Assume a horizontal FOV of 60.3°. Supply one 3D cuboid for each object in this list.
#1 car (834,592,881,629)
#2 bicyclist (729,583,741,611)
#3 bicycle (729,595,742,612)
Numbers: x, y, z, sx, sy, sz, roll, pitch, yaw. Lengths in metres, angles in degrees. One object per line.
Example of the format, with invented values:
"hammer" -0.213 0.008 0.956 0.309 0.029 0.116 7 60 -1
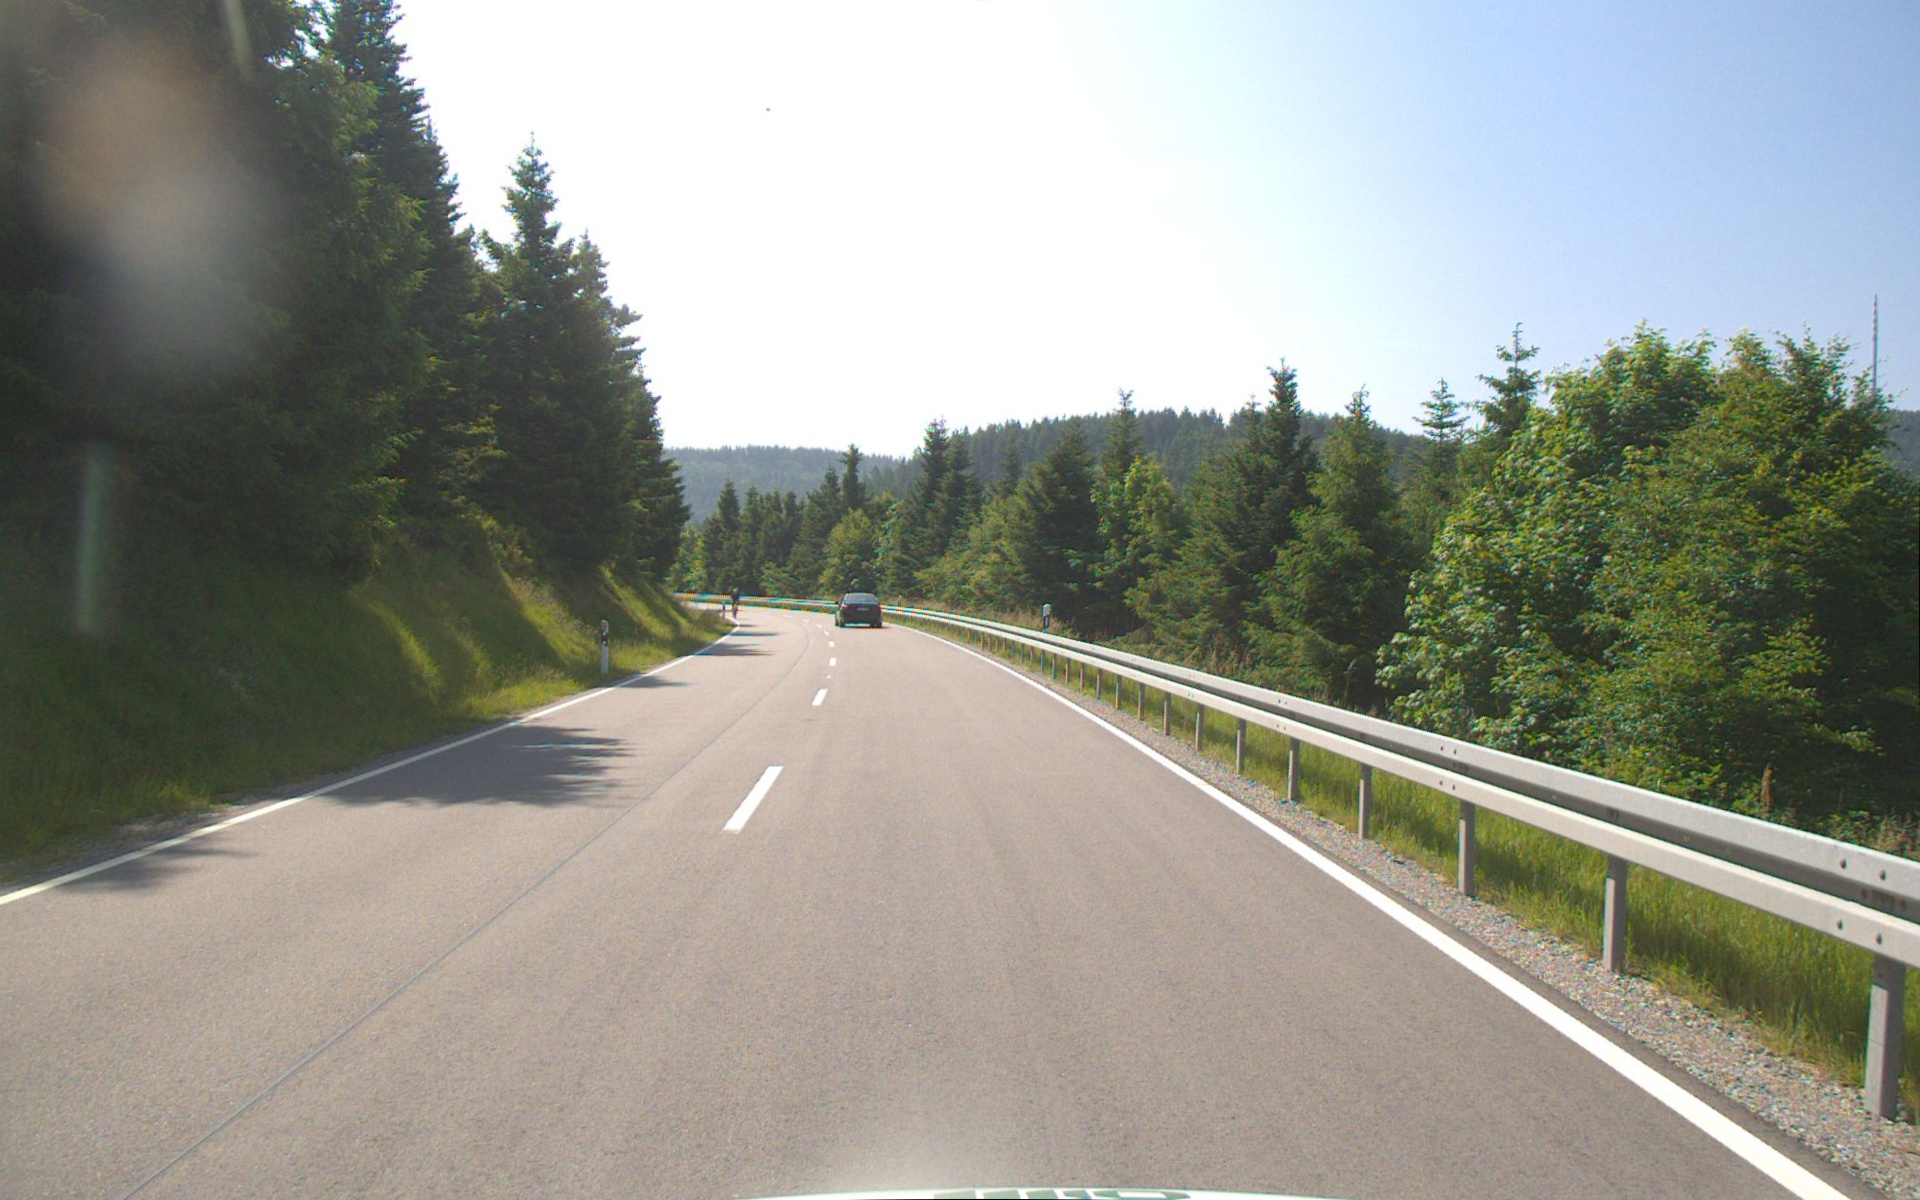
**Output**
"car" -4.350 0.428 69.904 1.742 1.467 3.703 -1 0 -7
"bicyclist" -12.247 -0.165 90.010 0.532 1.476 0.980 -1 0 -13
"bicycle" -12.254 0.200 90.106 0.543 0.902 2.056 -1 0 -12
